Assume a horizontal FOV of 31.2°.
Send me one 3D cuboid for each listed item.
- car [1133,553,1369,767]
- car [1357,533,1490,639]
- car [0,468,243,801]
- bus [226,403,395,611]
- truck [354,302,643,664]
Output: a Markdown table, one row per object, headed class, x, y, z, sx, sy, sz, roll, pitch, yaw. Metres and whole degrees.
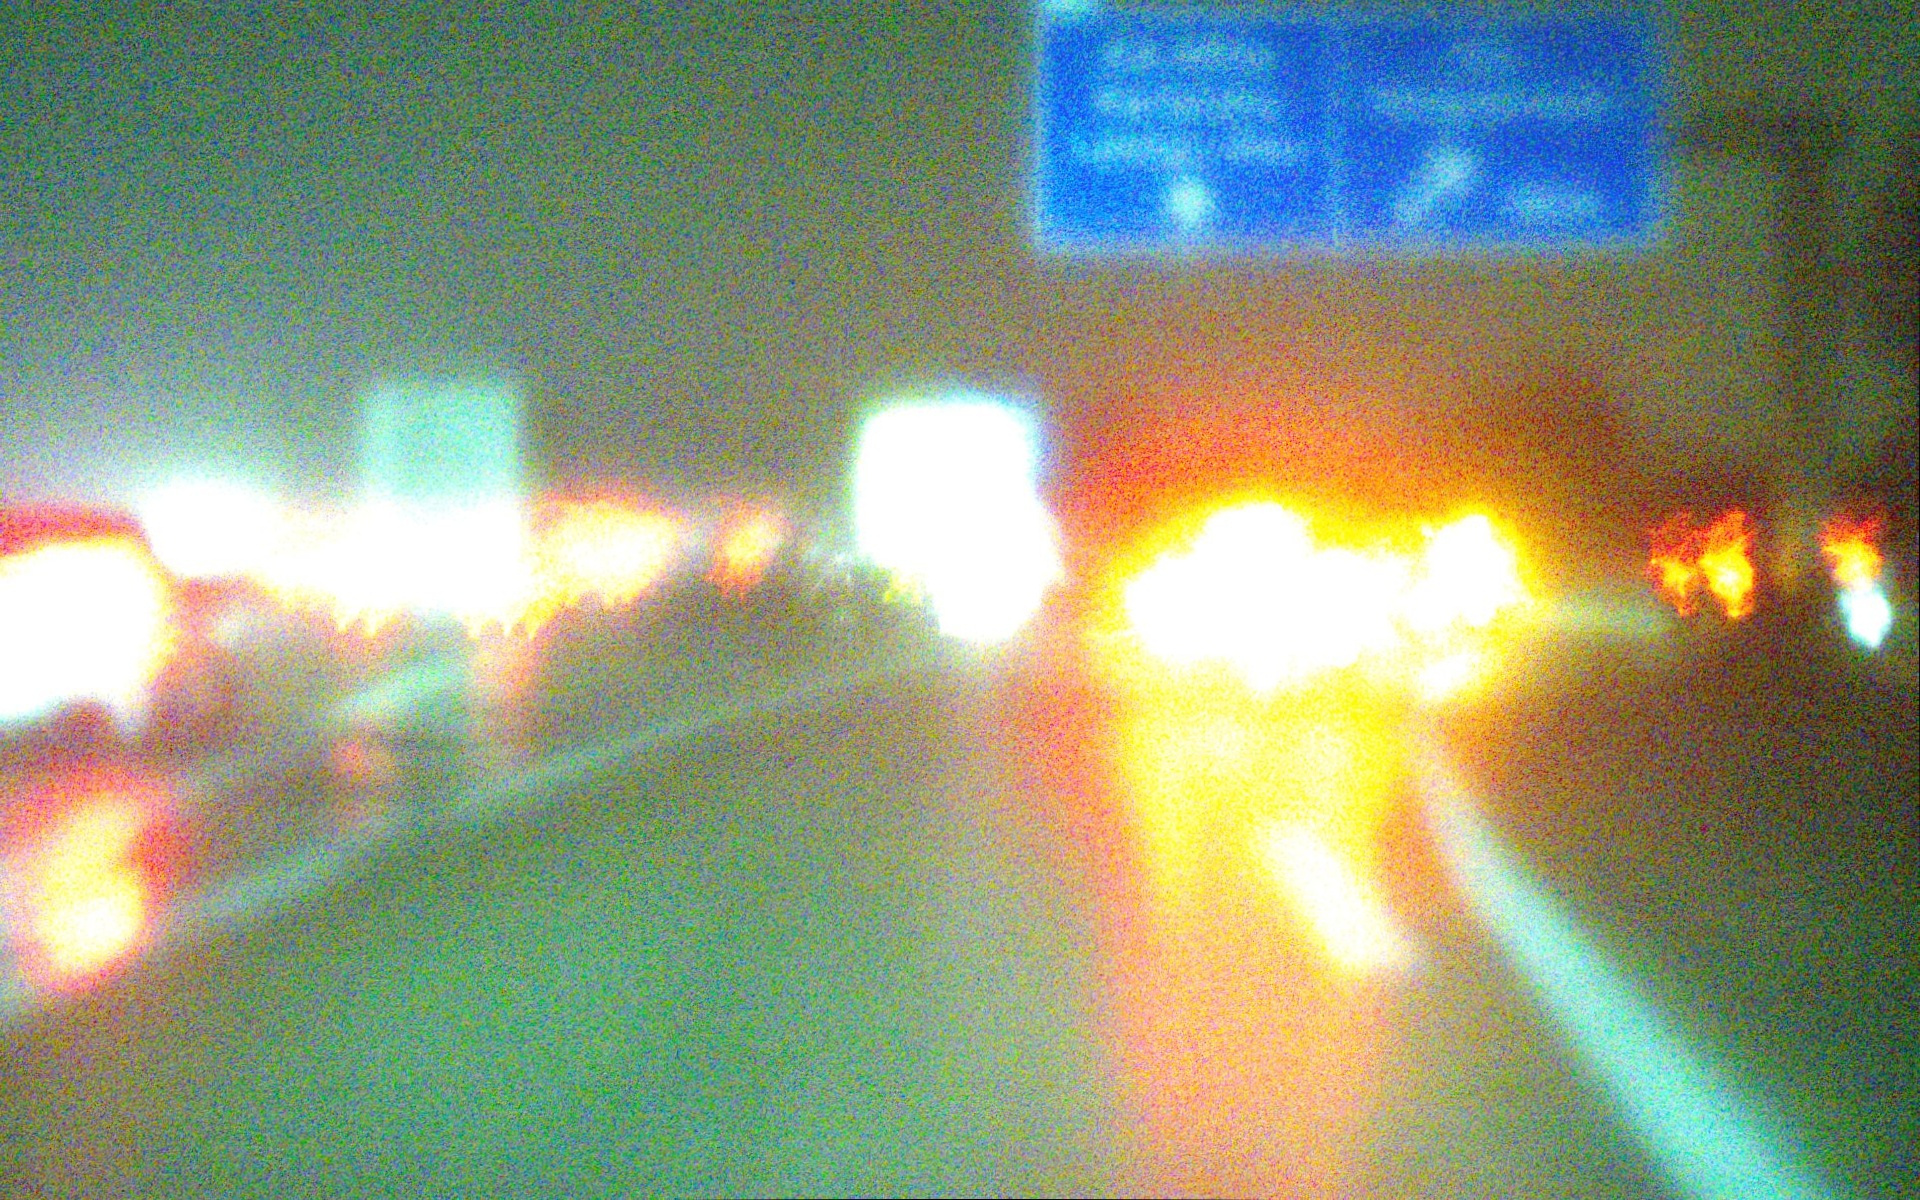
| class | x | y | z | sx | sy | sz | roll | pitch | yaw |
| --- | --- | --- | --- | --- | --- | --- | --- | --- | --- |
| car | 2.717 | 0.494 | 31.828 | 1.994 | 1.801 | 3.999 | 2 | 1 | 6 |
| car | 8.462 | -0.267 | 62.512 | 1.995 | 1.801 | 3.998 | 2 | 1 | 13 |
| car | -6.189 | 0.161 | 23.205 | 2.125 | 2.007 | 4.647 | 1 | 1 | -6 |
| bus | -15.174 | -2.127 | 81.072 | 3.096 | 4.492 | 10.916 | 1 | 1 | -7 |
| truck | -7.868 | -1.941 | 60.416 | 4.209 | 5.629 | 11.469 | 1 | 1 | -4 |
